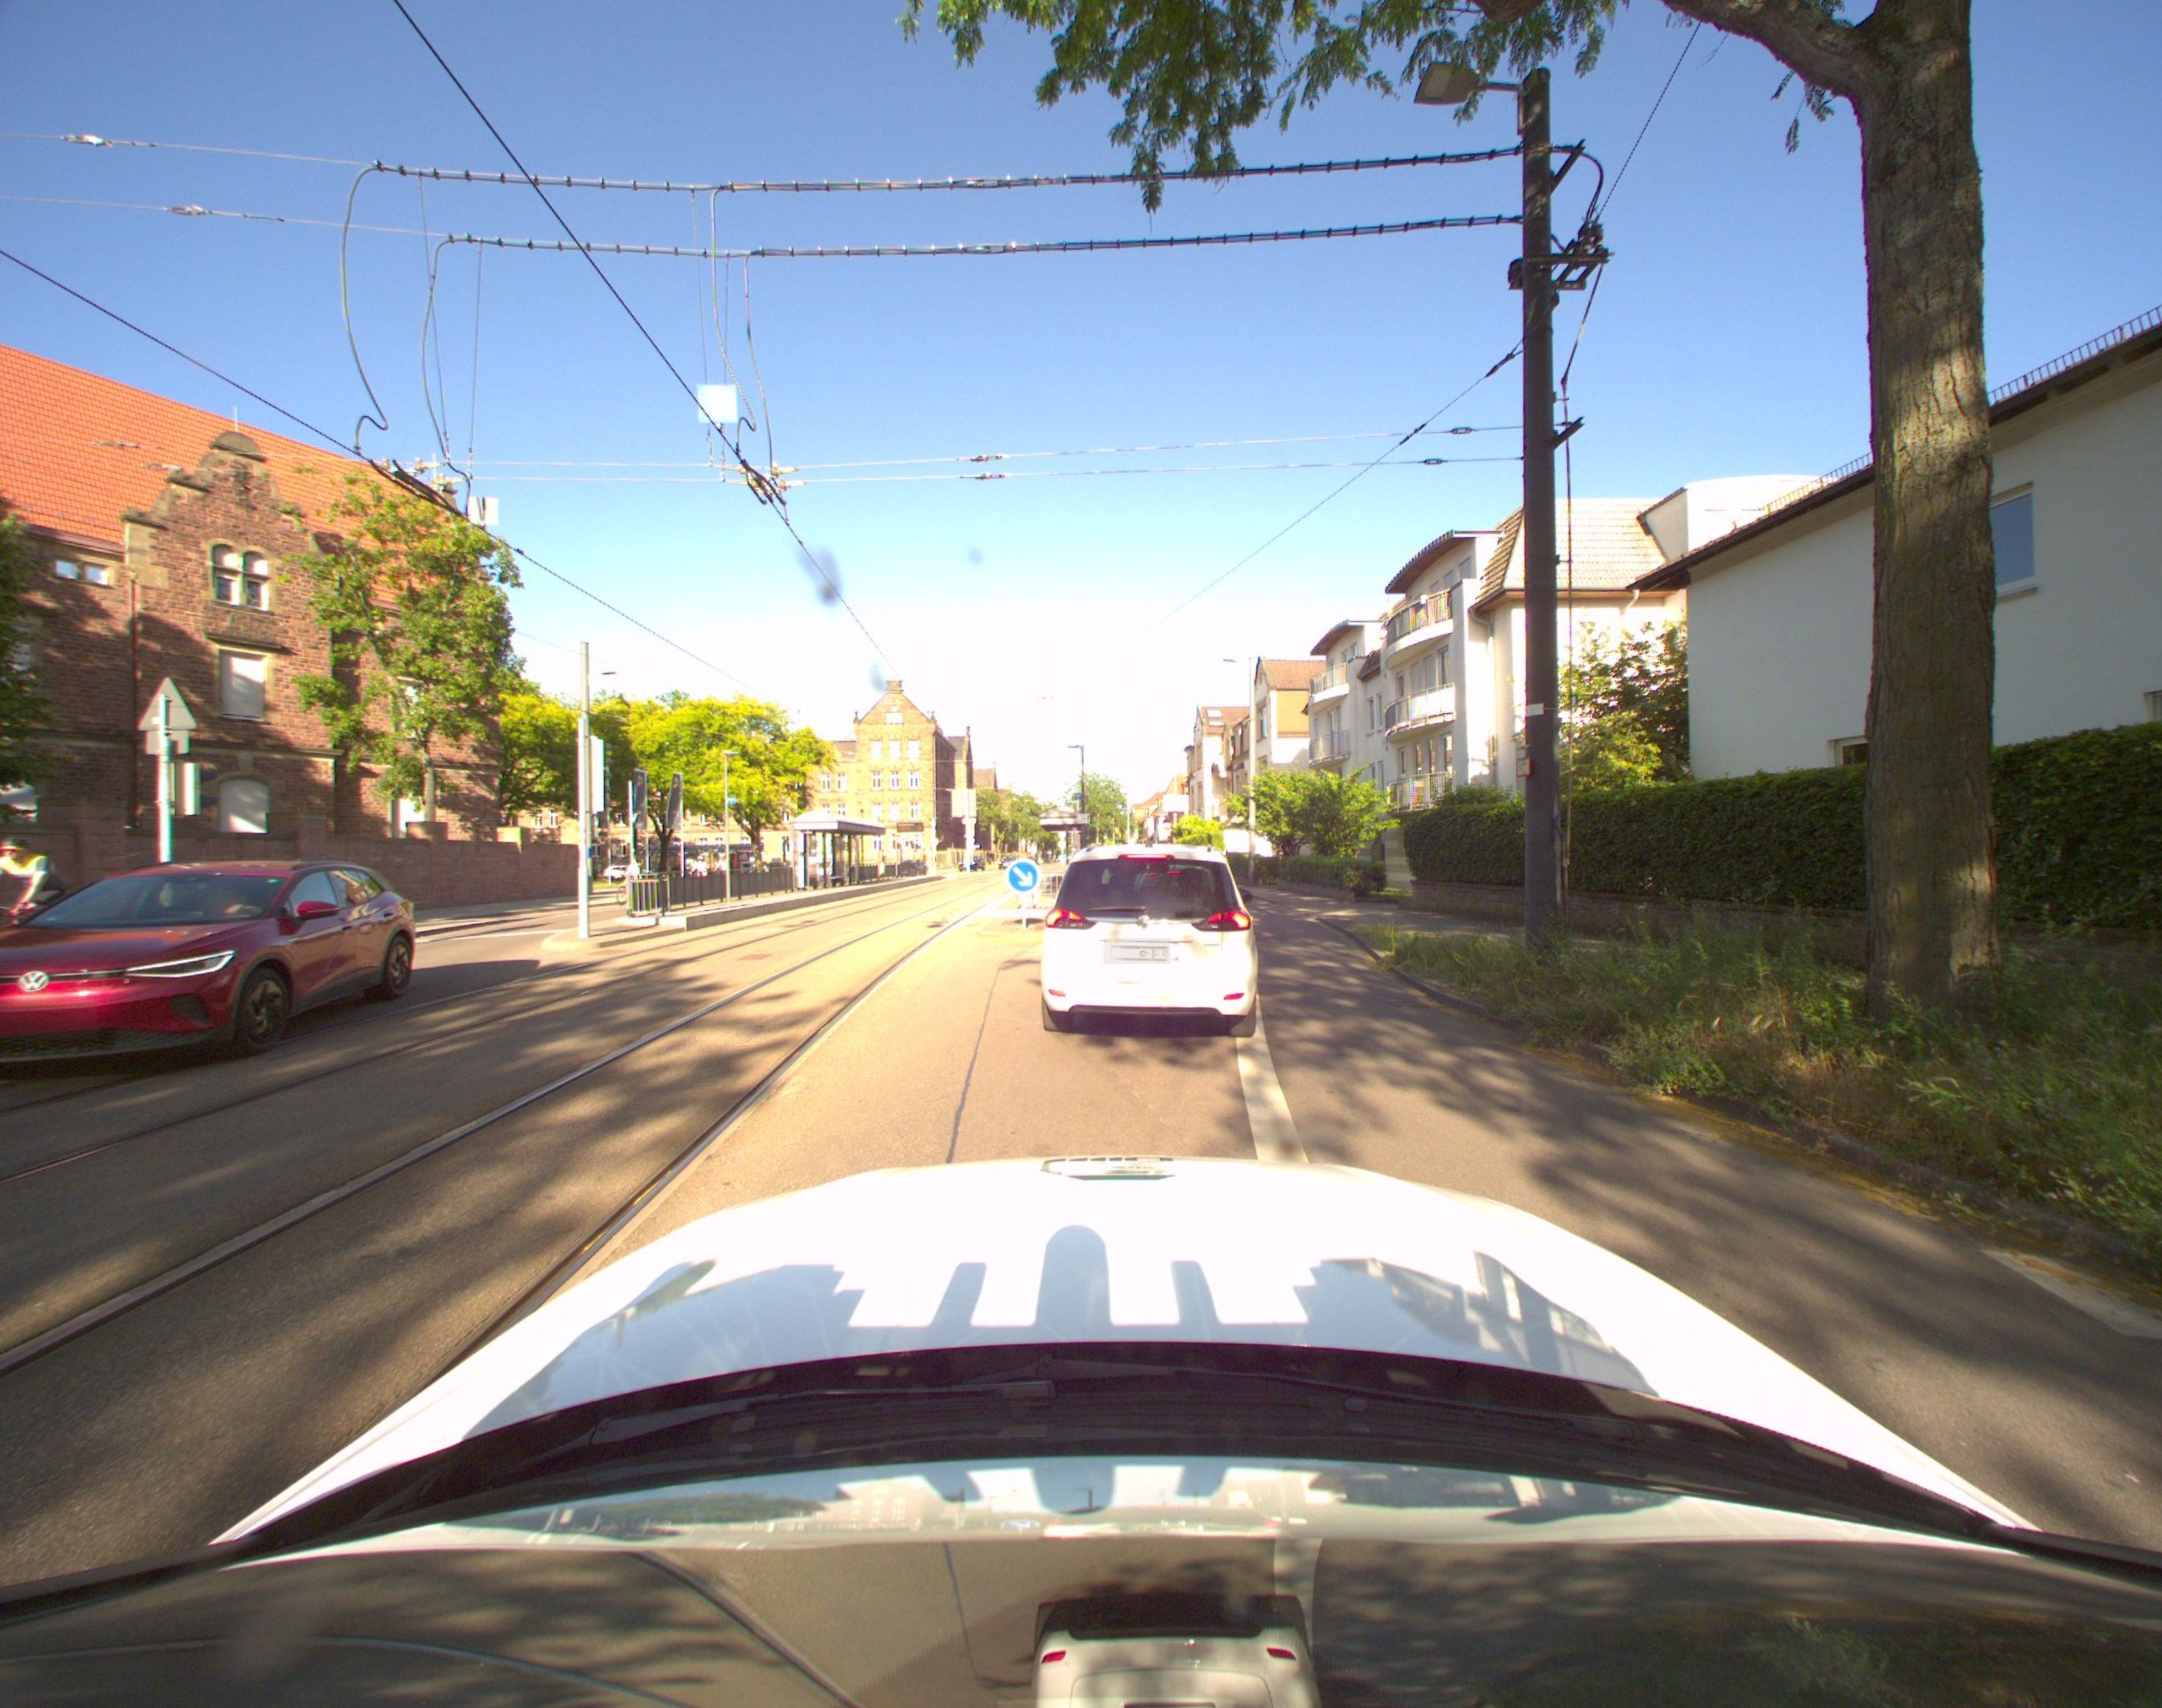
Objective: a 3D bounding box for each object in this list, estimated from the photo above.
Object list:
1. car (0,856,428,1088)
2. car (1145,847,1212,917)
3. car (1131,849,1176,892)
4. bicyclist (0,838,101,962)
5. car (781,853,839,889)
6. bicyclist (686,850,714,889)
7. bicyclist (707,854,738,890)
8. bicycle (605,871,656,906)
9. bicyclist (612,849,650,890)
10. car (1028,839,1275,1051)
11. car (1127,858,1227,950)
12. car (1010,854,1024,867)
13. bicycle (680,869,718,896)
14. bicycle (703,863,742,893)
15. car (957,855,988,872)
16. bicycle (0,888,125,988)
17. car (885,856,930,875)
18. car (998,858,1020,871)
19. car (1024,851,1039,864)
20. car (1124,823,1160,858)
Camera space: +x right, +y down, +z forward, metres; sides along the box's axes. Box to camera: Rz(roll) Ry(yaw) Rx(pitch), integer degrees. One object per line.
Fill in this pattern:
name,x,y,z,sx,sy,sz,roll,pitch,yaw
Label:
car,-8.190,0.849,7.793,1.825,1.607,4.327,-1,0,-22
car,2.549,0.647,21.098,1.560,1.614,3.792,1,0,7
car,2.938,0.633,33.583,1.590,1.635,3.903,1,0,2
bicyclist,-13.014,0.546,10.076,0.655,1.459,1.144,-1,0,-22
car,-14.226,0.842,42.948,1.823,1.788,4.250,-1,0,-3
bicyclist,-16.654,0.653,35.618,0.648,1.674,1.233,0,1,0
bicyclist,-15.750,0.770,35.809,0.758,1.536,1.347,-1,0,-1
bicycle,-16.574,1.243,30.013,0.813,1.198,1.951,0,0,-2
bicyclist,-16.578,0.579,30.032,0.754,1.471,1.189,0,-1,-2
car,0.780,0.674,8.182,1.868,1.585,4.008,0,0,7
car,1.774,0.807,14.858,1.560,1.401,3.792,1,0,7
car,-8.596,0.904,110.323,1.823,1.788,4.321,-1,-1,-4
bicycle,-16.658,1.225,35.573,0.667,1.072,2.015,0,0,0
bicycle,-15.747,1.026,35.824,0.774,1.231,2.088,-1,0,0
car,-11.010,0.963,82.784,1.815,1.617,4.341,-1,-1,11
bicycle,-13.021,1.011,10.122,0.687,1.089,1.841,-1,0,-22
car,-14.003,0.879,66.038,1.785,1.382,4.512,-1,0,14
car,-8.462,1.232,96.054,1.817,1.446,4.335,-1,-1,7
car,-8.121,0.581,132.944,1.985,2.013,4.003,-1,0,3
car,2.983,-0.680,40.186,1.590,1.634,3.903,1,1,2
